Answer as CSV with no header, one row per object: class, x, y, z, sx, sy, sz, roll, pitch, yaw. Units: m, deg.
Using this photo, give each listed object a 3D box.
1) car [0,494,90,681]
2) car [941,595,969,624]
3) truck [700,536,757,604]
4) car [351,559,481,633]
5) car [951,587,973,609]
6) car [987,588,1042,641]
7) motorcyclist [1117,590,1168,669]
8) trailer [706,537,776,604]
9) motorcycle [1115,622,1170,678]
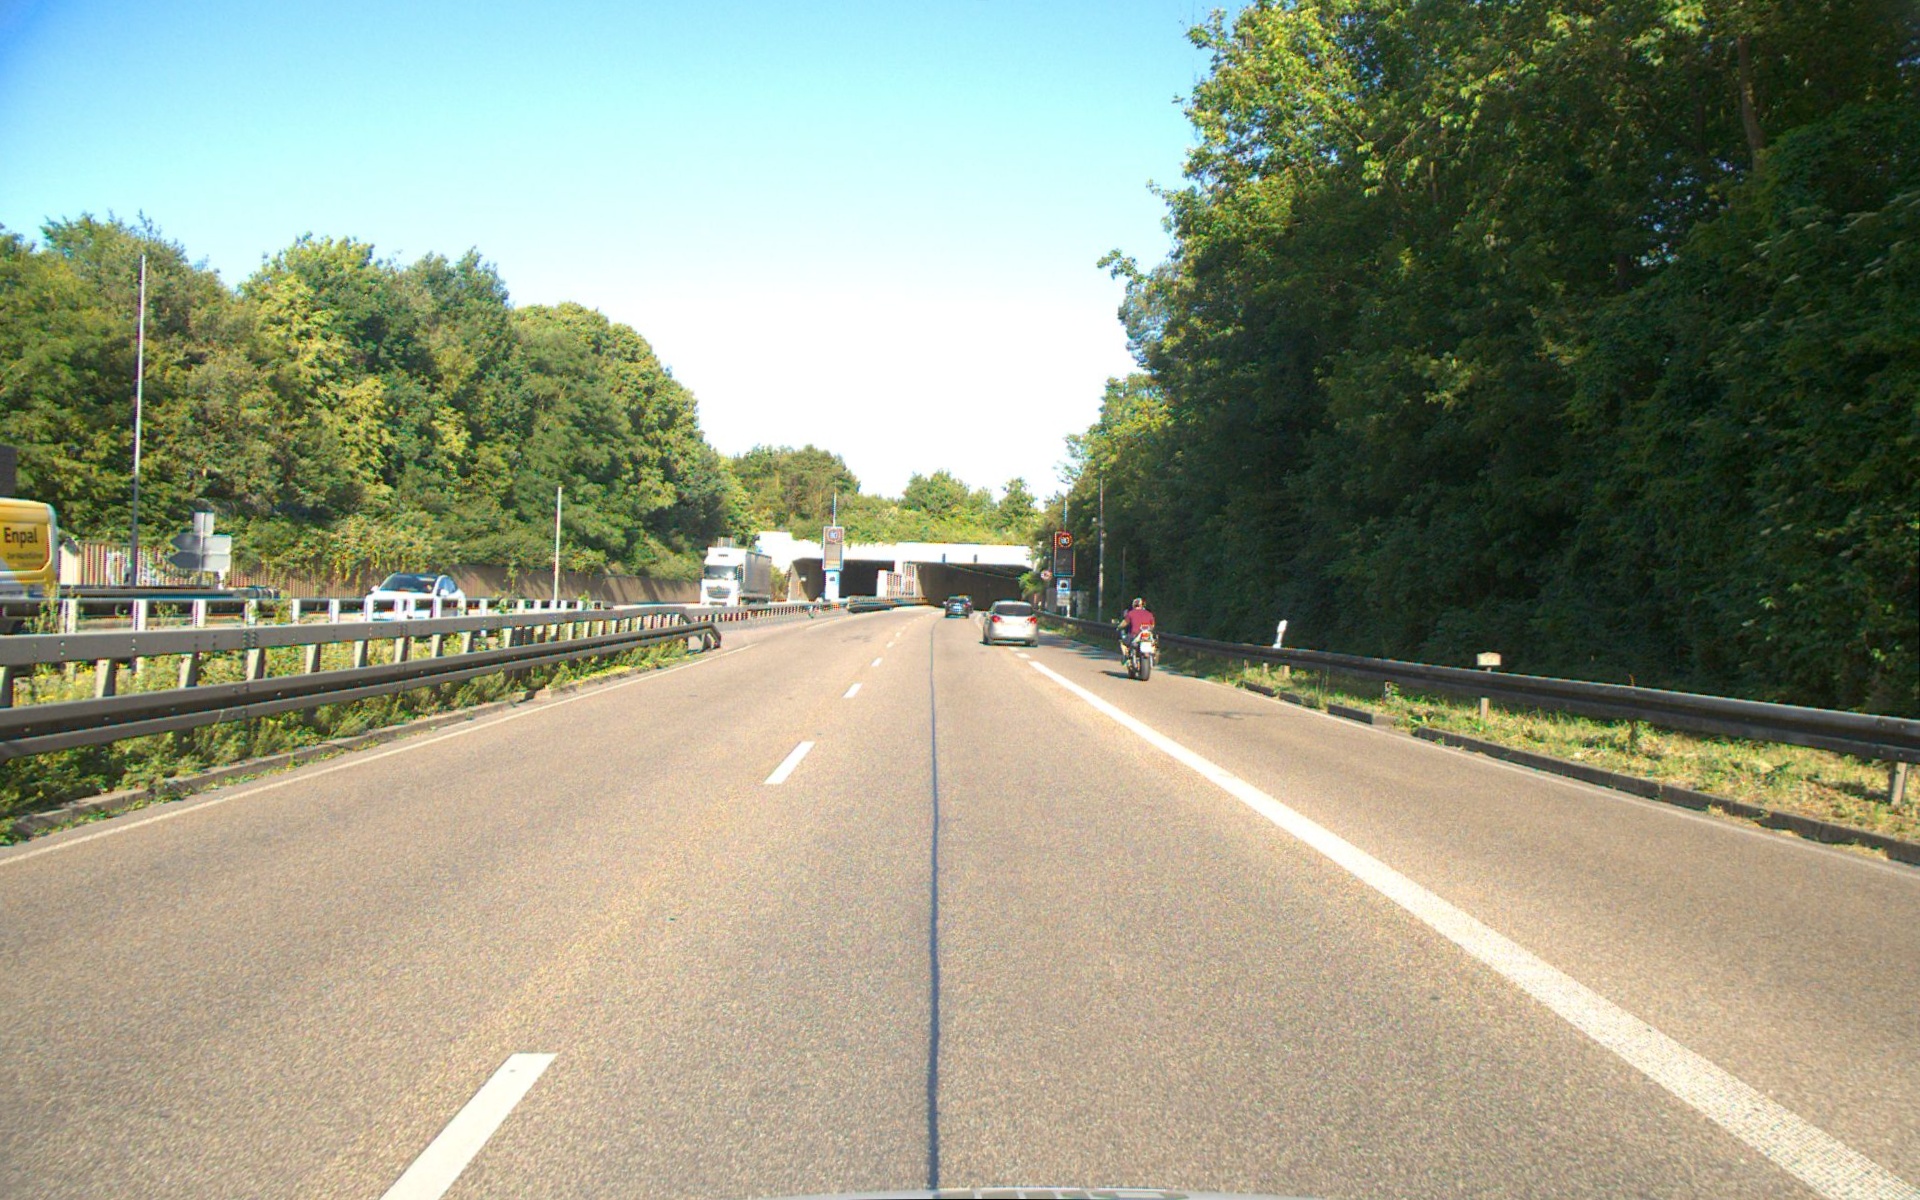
car,-14.707,-0.225,22.836,2.104,2.656,6.051,3,1,-1
car,-0.371,0.655,119.757,1.953,1.959,3.999,2,1,-1
truck,-15.566,-2.016,111.714,2.680,4.335,6.388,3,1,0
car,-14.947,-0.142,45.718,1.953,1.813,4.785,4,1,-1
car,0.176,-0.217,154.369,1.953,1.959,4.000,2,1,-1
car,1.780,0.460,55.431,1.633,1.579,4.000,4,1,0
motorcyclist,3.708,0.586,33.650,0.865,1.527,1.063,3,1,1
trailer,-15.532,-2.124,118.479,2.691,4.354,14.087,3,1,1
motorcycle,3.700,0.995,33.741,0.841,1.008,2.729,3,0,1
